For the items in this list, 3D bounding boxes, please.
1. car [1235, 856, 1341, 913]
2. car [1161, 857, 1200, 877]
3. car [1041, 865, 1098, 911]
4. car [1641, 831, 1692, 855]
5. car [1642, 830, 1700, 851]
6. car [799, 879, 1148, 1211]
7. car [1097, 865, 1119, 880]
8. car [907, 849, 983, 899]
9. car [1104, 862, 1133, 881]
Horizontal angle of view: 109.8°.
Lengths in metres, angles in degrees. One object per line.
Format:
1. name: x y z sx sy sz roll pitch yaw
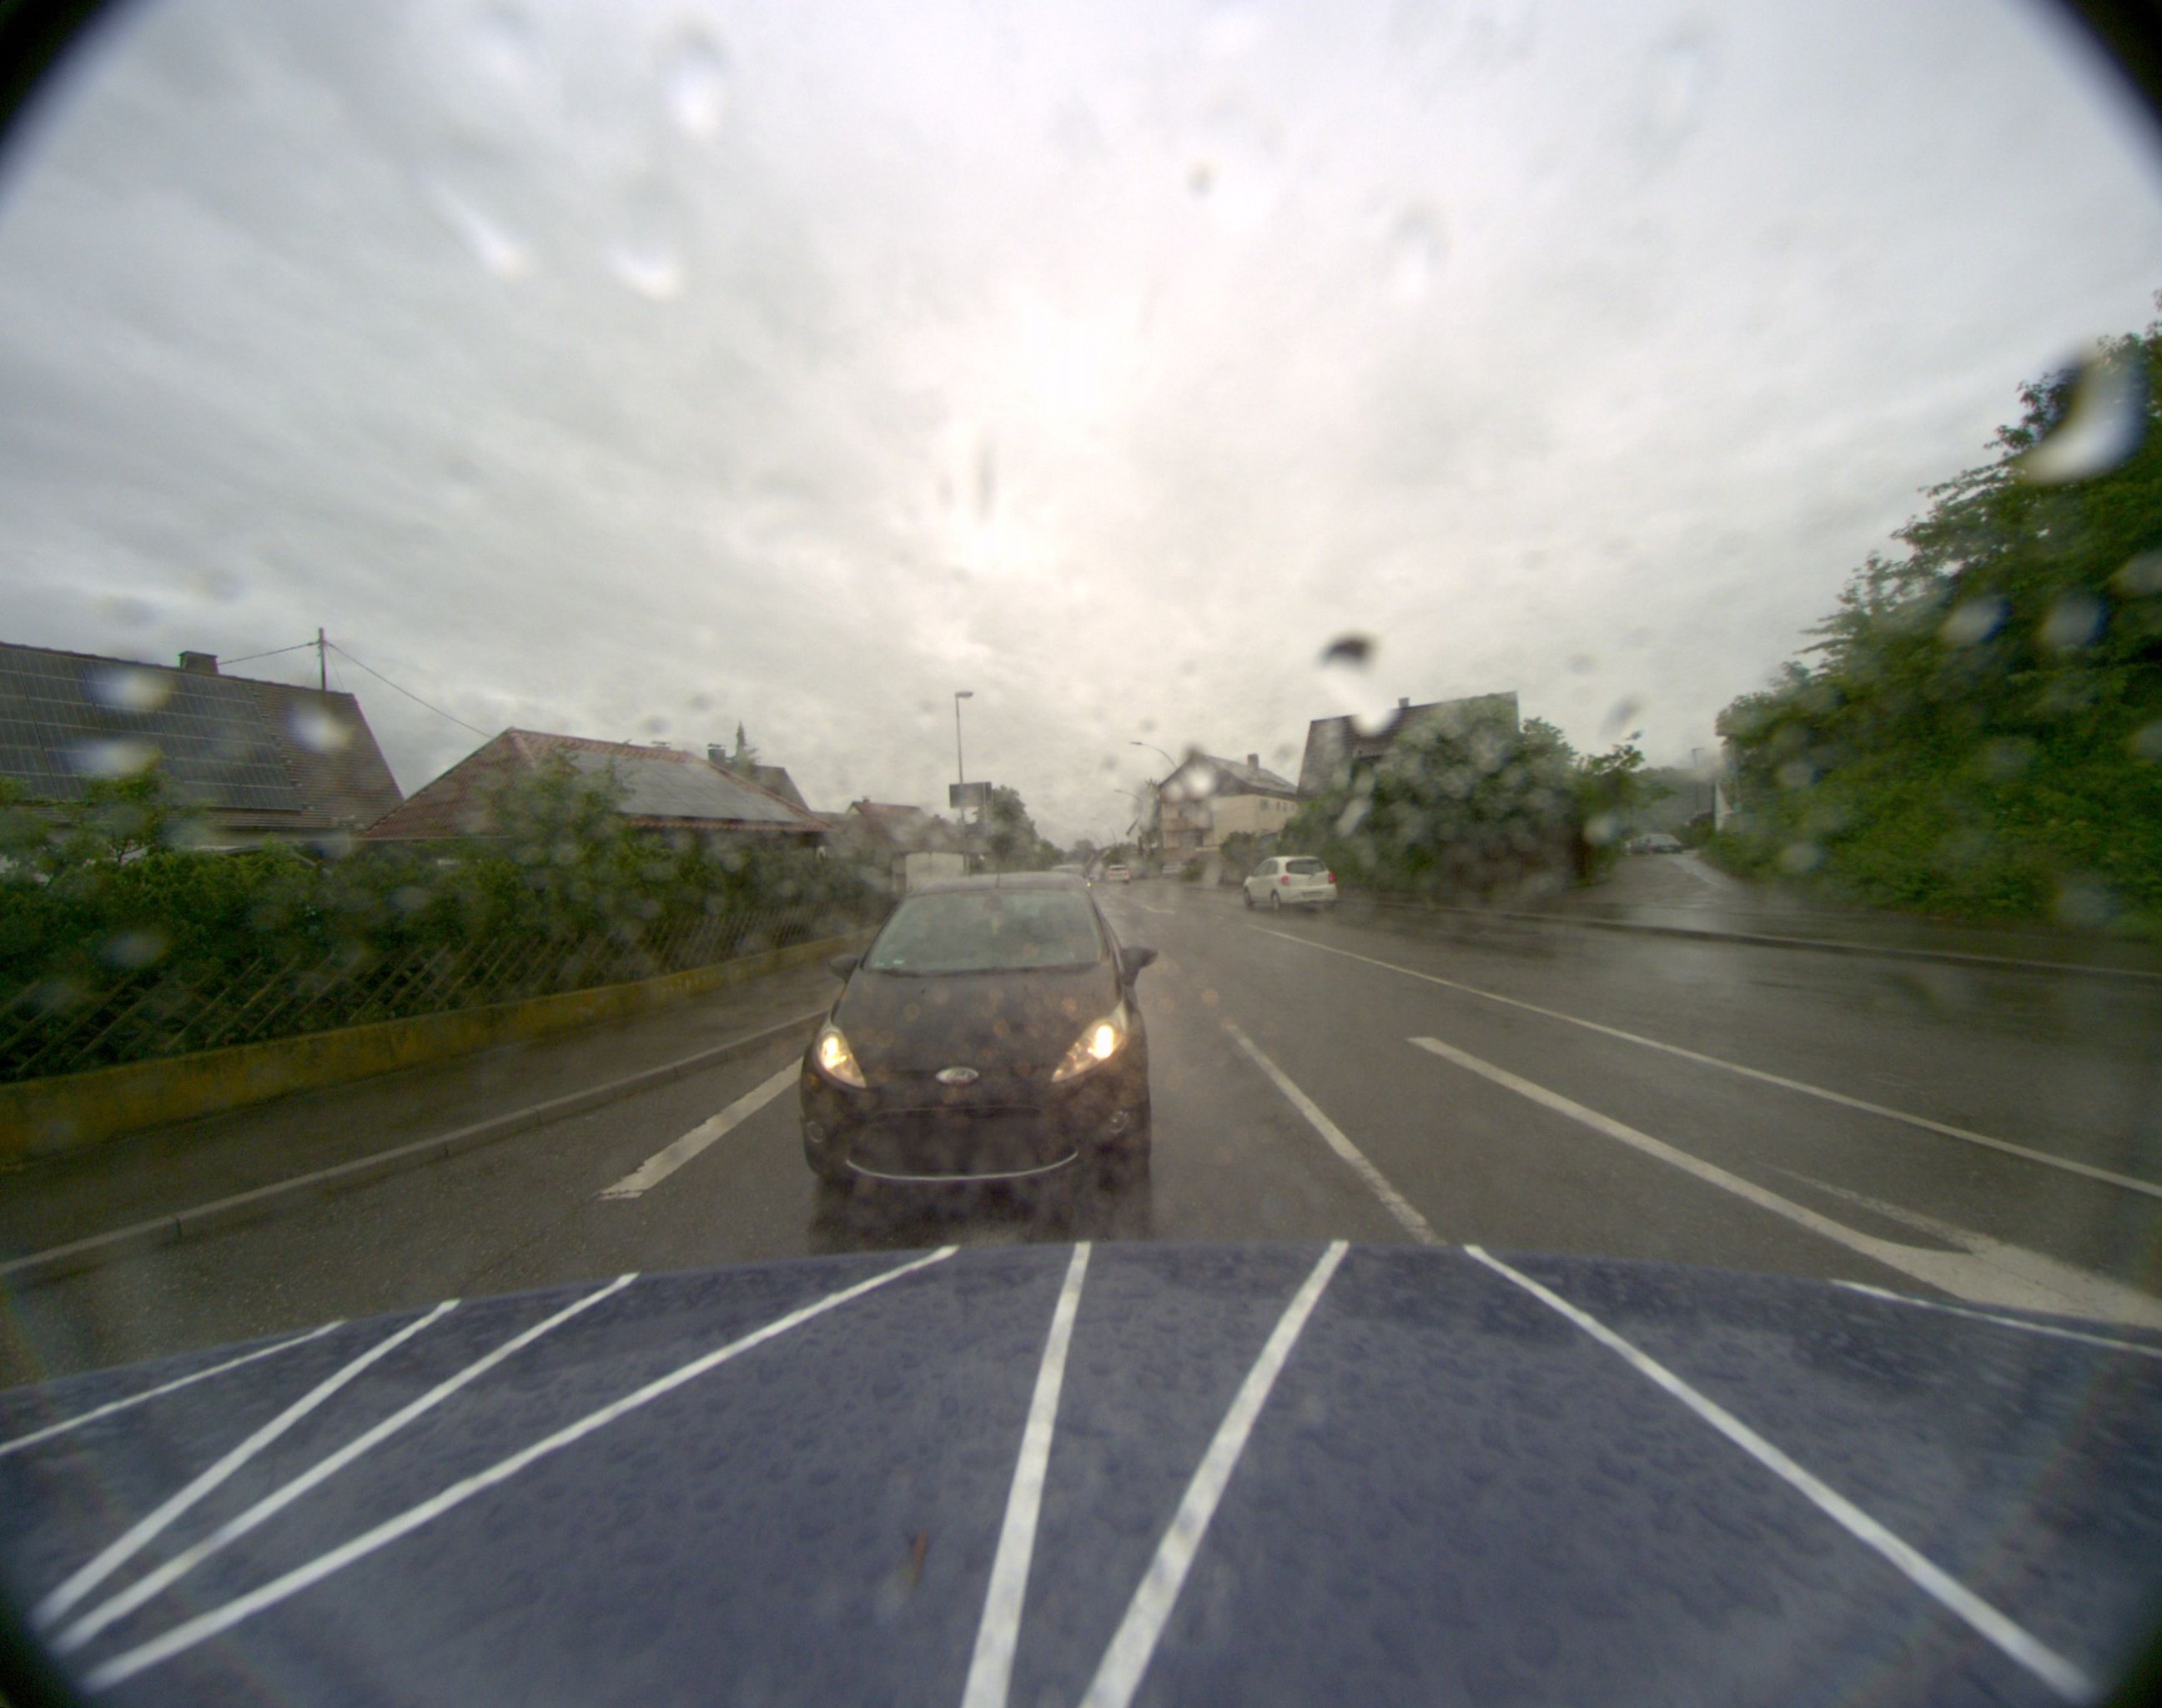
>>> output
1. car: 5.916 0.818 22.166 1.625 1.496 3.820 -1 0 -8
2. car: 8.804 1.102 66.887 1.661 1.538 4.007 -2 1 34
3. car: -0.474 1.165 27.747 1.899 1.474 3.999 -2 0 -3
4. car: 40.712 -0.746 52.924 1.895 1.474 4.007 -2 0 24
5. car: 45.563 -1.017 58.813 1.997 1.477 4.004 -3 0 13
6. car: -0.573 1.010 5.728 1.666 1.410 3.931 -2 1 -1
7. car: 2.904 1.975 81.675 1.670 1.430 4.105 0 0 -8
8. car: -6.863 0.959 38.716 1.650 2.337 4.007 -2 0 27
9. car: 3.051 1.427 63.184 1.669 1.496 4.319 -3 0 -6
